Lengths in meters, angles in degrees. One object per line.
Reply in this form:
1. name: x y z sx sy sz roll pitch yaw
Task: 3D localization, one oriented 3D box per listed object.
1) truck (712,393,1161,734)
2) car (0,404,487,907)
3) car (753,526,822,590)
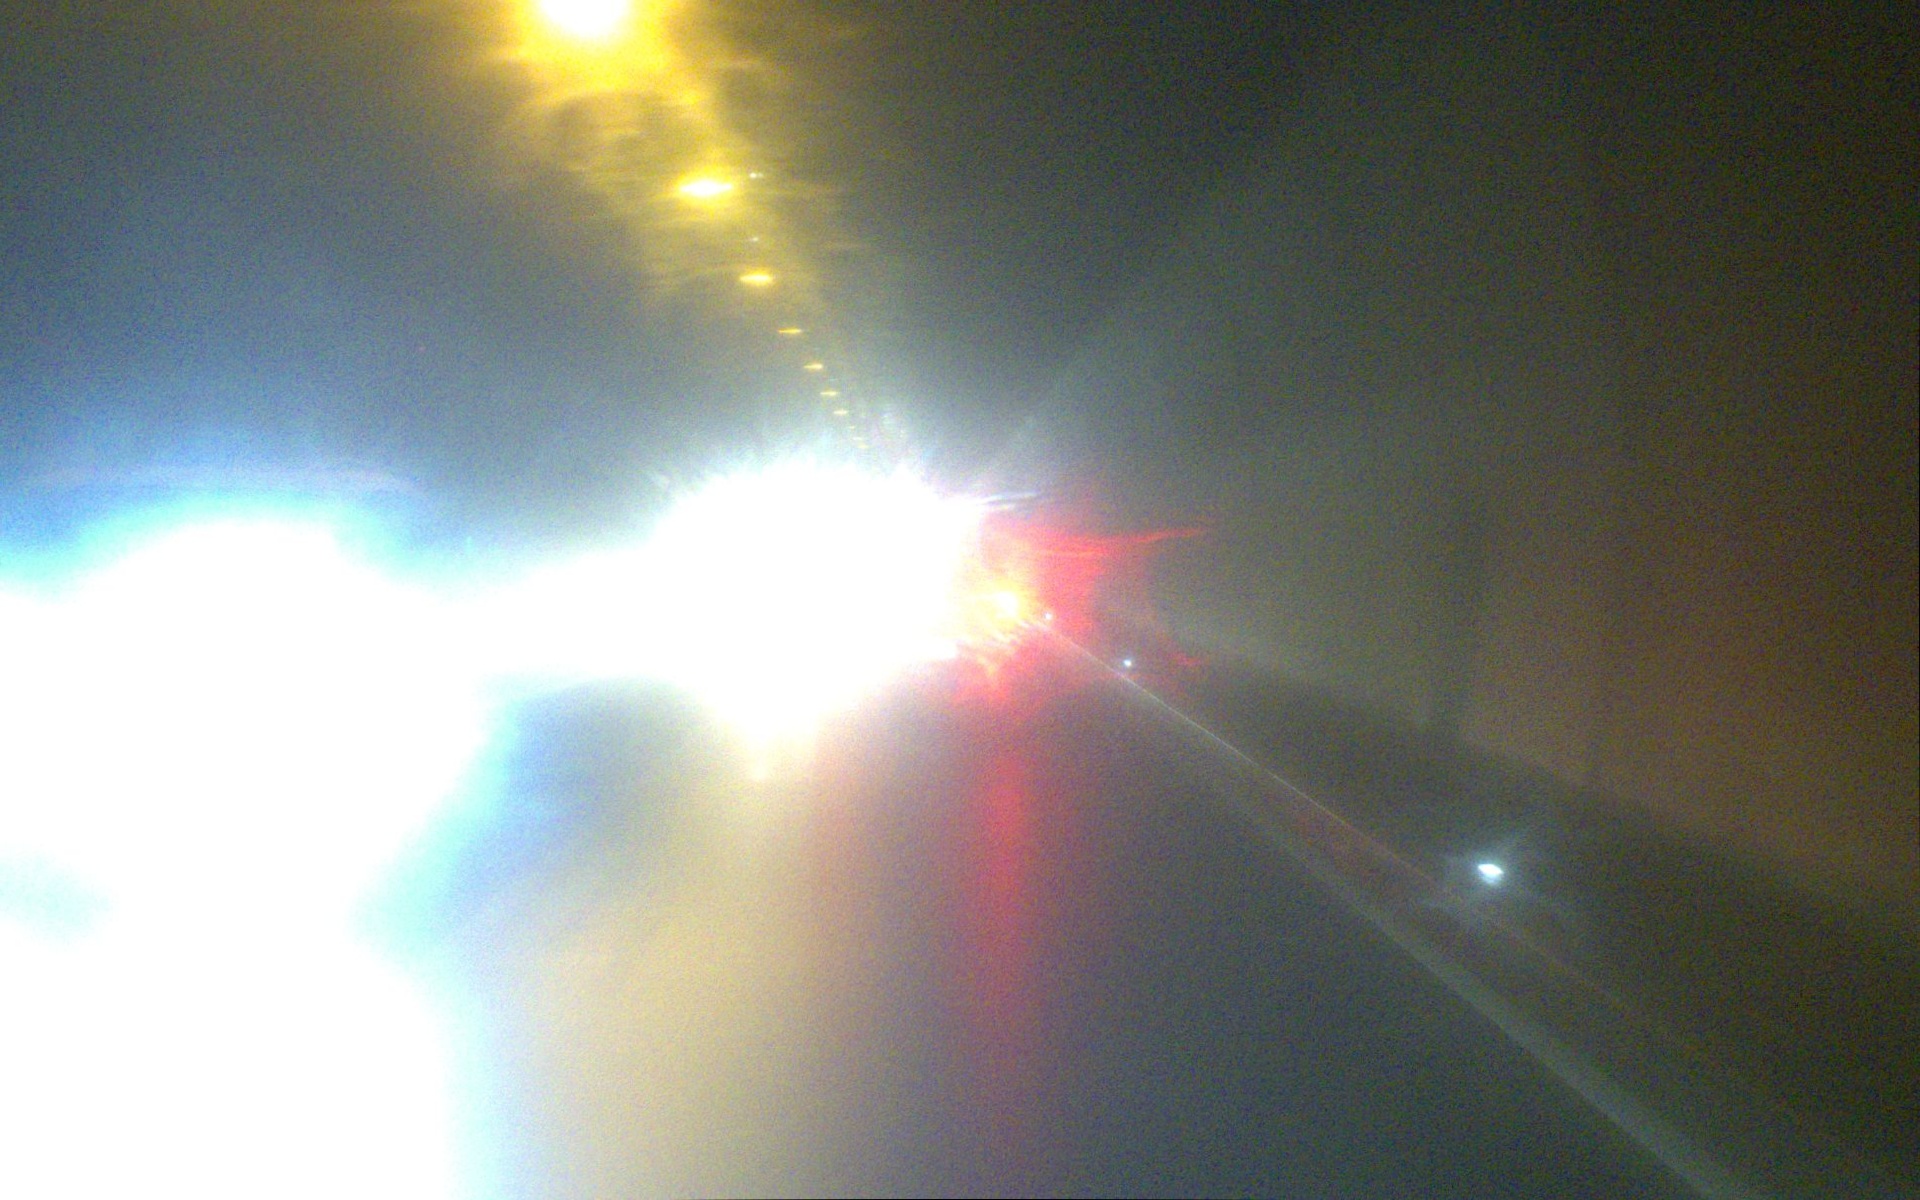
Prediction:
1. truck: -0.225 -0.348 31.643 3.535 2.684 8.956 0 1 -1
2. car: -3.577 0.182 16.086 2.085 2.007 4.560 1 1 0
3. car: -4.428 -1.080 88.709 1.598 1.608 3.996 0 1 0
